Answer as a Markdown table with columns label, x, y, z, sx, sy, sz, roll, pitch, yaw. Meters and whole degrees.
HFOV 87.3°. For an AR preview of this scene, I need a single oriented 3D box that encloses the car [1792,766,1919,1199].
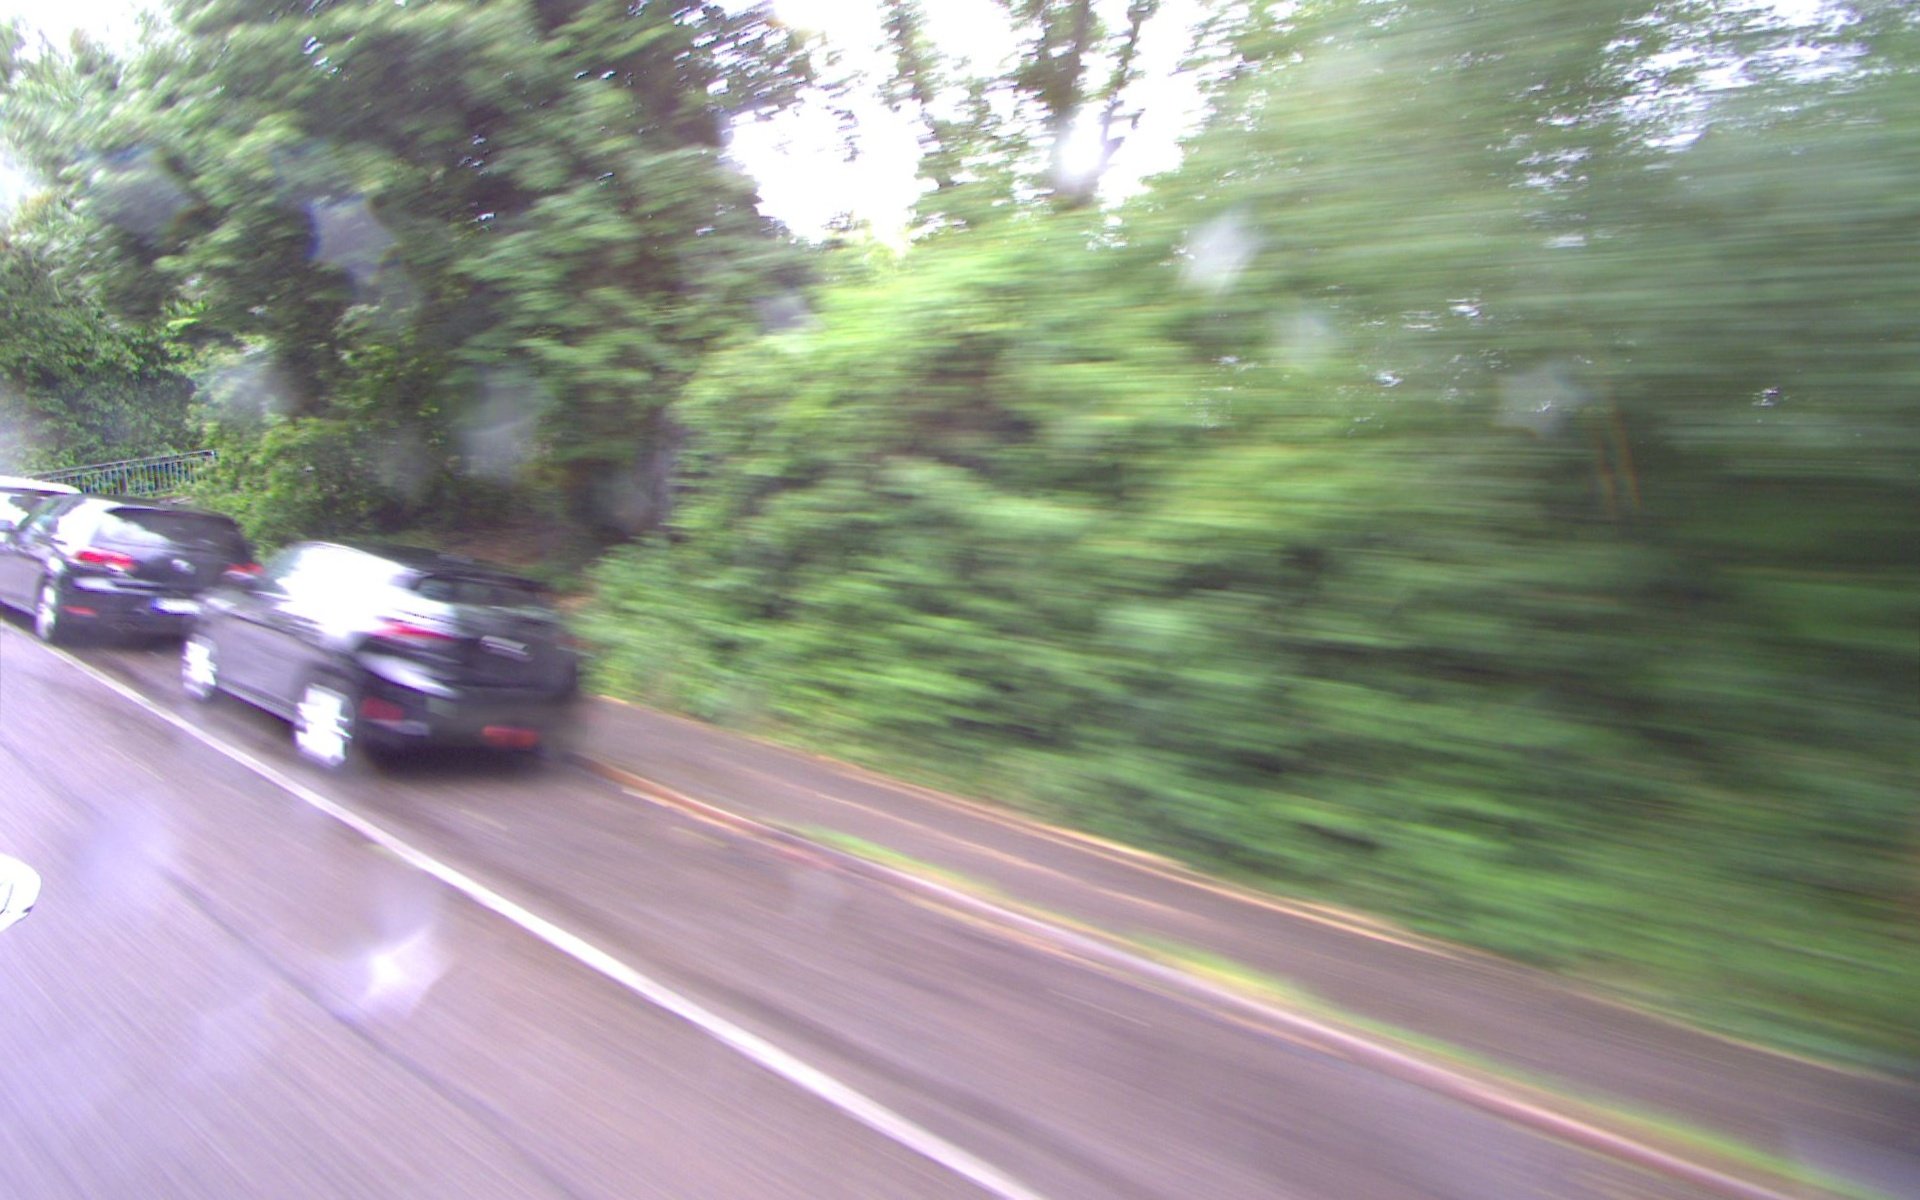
| label | x | y | z | sx | sy | sz | roll | pitch | yaw |
| --- | --- | --- | --- | --- | --- | --- | --- | --- | --- |
| car | 3.814 | 1.374 | 1.485 | 3.683 | 1.505 | 1.630 | 7 | -2 | 33 |

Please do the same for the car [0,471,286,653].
| label | x | y | z | sx | sy | sz | roll | pitch | yaw |
| --- | --- | --- | --- | --- | --- | --- | --- | --- | --- |
| car | -9.112 | -0.471 | 10.923 | 3.906 | 1.442 | 1.660 | 9 | 1 | 36 |

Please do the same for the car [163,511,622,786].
| label | x | y | z | sx | sy | sz | roll | pitch | yaw |
| --- | --- | --- | --- | --- | --- | --- | --- | --- | --- |
| car | -4.413 | 0.266 | 7.609 | 3.764 | 1.406 | 1.590 | 8 | -1 | 38 |

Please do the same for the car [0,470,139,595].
| label | x | y | z | sx | sy | sz | roll | pitch | yaw |
| --- | --- | --- | --- | --- | --- | --- | --- | --- | --- |
| car | -13.354 | -1.069 | 13.929 | 4.026 | 1.418 | 1.757 | 8 | 1 | 31 |
